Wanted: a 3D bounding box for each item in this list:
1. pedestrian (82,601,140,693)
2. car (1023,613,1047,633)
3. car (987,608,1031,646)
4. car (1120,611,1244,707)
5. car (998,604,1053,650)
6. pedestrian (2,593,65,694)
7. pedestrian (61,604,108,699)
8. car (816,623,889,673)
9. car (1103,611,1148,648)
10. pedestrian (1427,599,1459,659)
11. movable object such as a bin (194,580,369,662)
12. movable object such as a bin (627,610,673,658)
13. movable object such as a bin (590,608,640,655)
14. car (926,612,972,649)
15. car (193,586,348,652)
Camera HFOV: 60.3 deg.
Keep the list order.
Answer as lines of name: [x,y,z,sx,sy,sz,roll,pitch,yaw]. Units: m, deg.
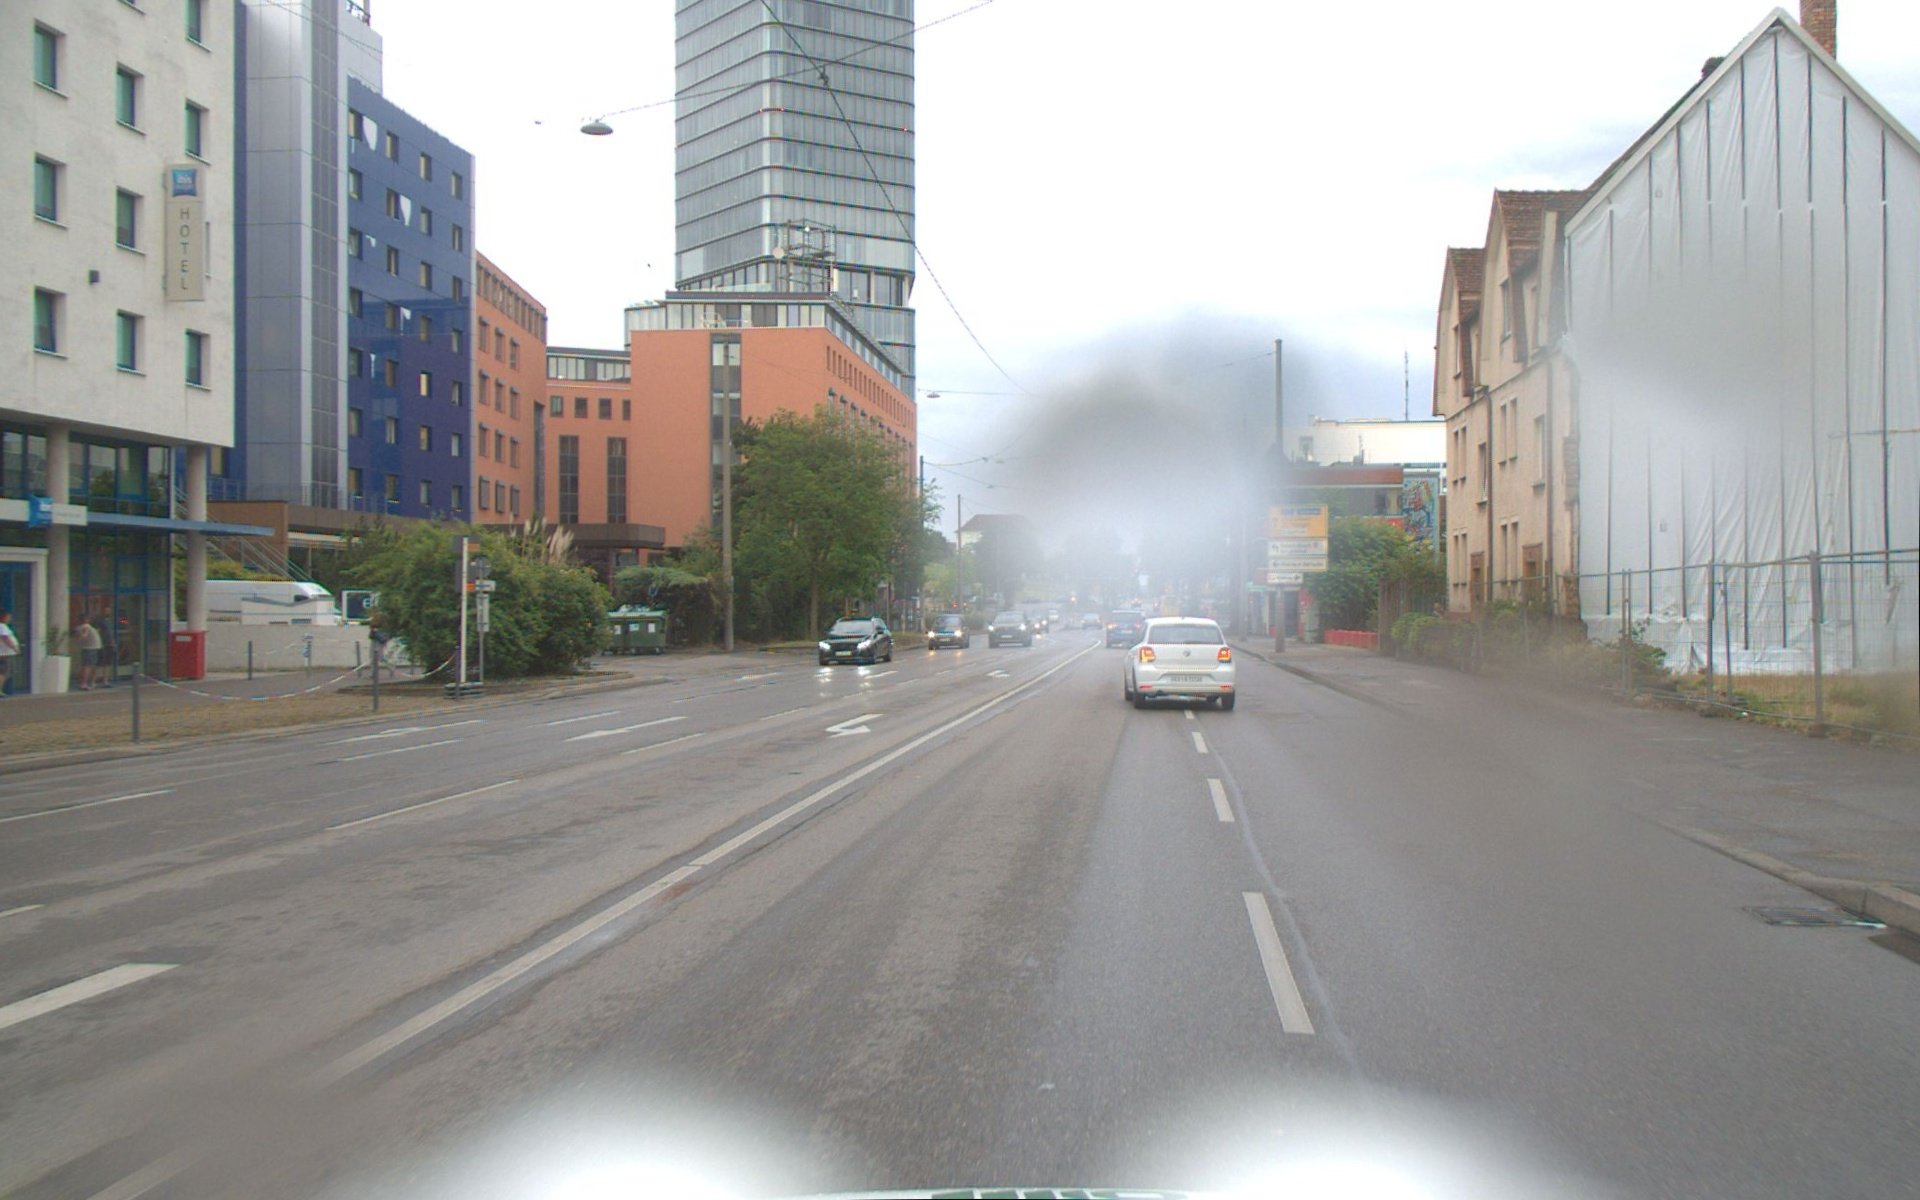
pedestrian: [-19.377,1.073,37.736,0.799,2.049,0.897,-4,-3,36]
car: [5.887,1.826,130.028,1.624,1.512,3.822,-1,0,6]
car: [2.366,1.272,78.807,1.719,1.582,4.453,-3,1,6]
car: [3.660,0.938,27.785,1.636,1.499,3.779,0,0,1]
car: [3.180,1.373,81.462,1.956,2.049,3.992,-2,-3,-8]
pedestrian: [-19.339,0.916,34.518,0.785,2.049,0.815,-3,-3,7]
pedestrian: [-19.375,1.137,36.603,0.801,2.049,0.799,-1,-3,-21]
car: [-3.478,1.550,54.242,1.697,1.503,4.701,-1,-1,4]
car: [7.354,1.293,73.635,1.951,1.601,4.002,0,-1,6]
pedestrian: [14.712,0.869,50.338,0.892,1.795,0.768,1,0,18]
movable object such as a bin: [-24.692,0.811,60.280,5.506,2.674,2.163,-3,-3,6]
movable object such as a bin: [-10.406,1.153,55.584,1.362,1.517,0.950,-2,-3,-3]
movable object such as a bin: [-11.773,1.075,56.479,1.361,1.517,0.952,-3,-3,17]
car: [-0.486,1.425,79.108,1.672,1.593,4.037,-3,0,7]
car: [-24.173,0.700,58.048,4.613,2.049,1.894,-3,-3,6]
